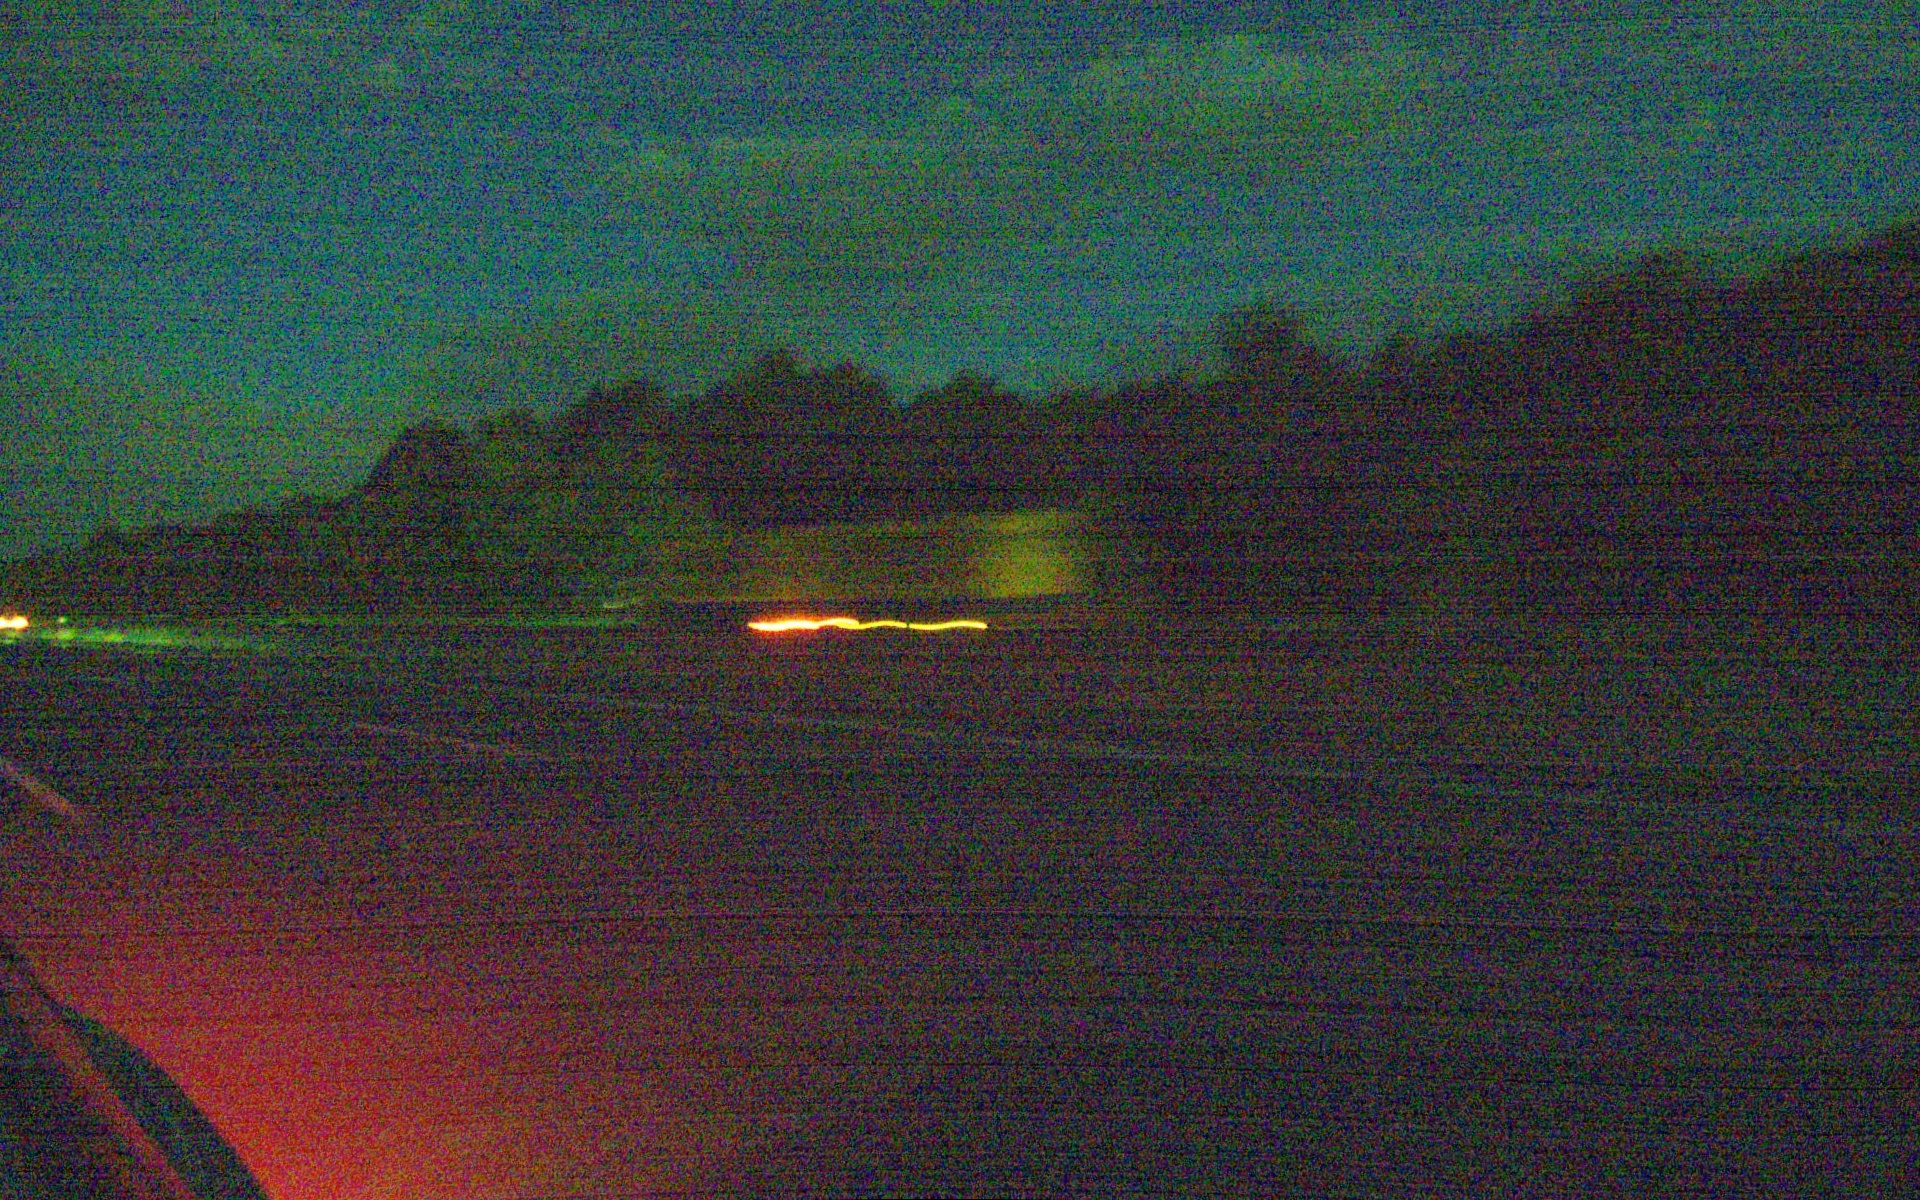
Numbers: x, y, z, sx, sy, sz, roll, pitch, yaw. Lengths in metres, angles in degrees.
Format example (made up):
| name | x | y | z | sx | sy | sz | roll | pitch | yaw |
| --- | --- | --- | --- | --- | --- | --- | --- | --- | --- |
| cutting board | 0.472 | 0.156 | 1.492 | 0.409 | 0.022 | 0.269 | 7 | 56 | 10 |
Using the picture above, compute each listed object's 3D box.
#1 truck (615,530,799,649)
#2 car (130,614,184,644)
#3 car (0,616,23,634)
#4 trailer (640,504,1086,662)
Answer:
| name | x | y | z | sx | sy | sz | roll | pitch | yaw |
| --- | --- | --- | --- | --- | --- | --- | --- | --- | --- |
| truck | -9.468 | -0.318 | 37.508 | 6.697 | 4.000 | 3.465 | -1 | -1 | 42 |
| car | -46.116 | 1.633 | 58.098 | 3.738 | 1.658 | 1.728 | -1 | -1 | 39 |
| car | -98.105 | 2.522 | 103.767 | 5.676 | 1.835 | 1.976 | -1 | 0 | 36 |
| trailer | -4.103 | -0.373 | 32.823 | 17.274 | 4.030 | 3.506 | -1 | -1 | 41 |
